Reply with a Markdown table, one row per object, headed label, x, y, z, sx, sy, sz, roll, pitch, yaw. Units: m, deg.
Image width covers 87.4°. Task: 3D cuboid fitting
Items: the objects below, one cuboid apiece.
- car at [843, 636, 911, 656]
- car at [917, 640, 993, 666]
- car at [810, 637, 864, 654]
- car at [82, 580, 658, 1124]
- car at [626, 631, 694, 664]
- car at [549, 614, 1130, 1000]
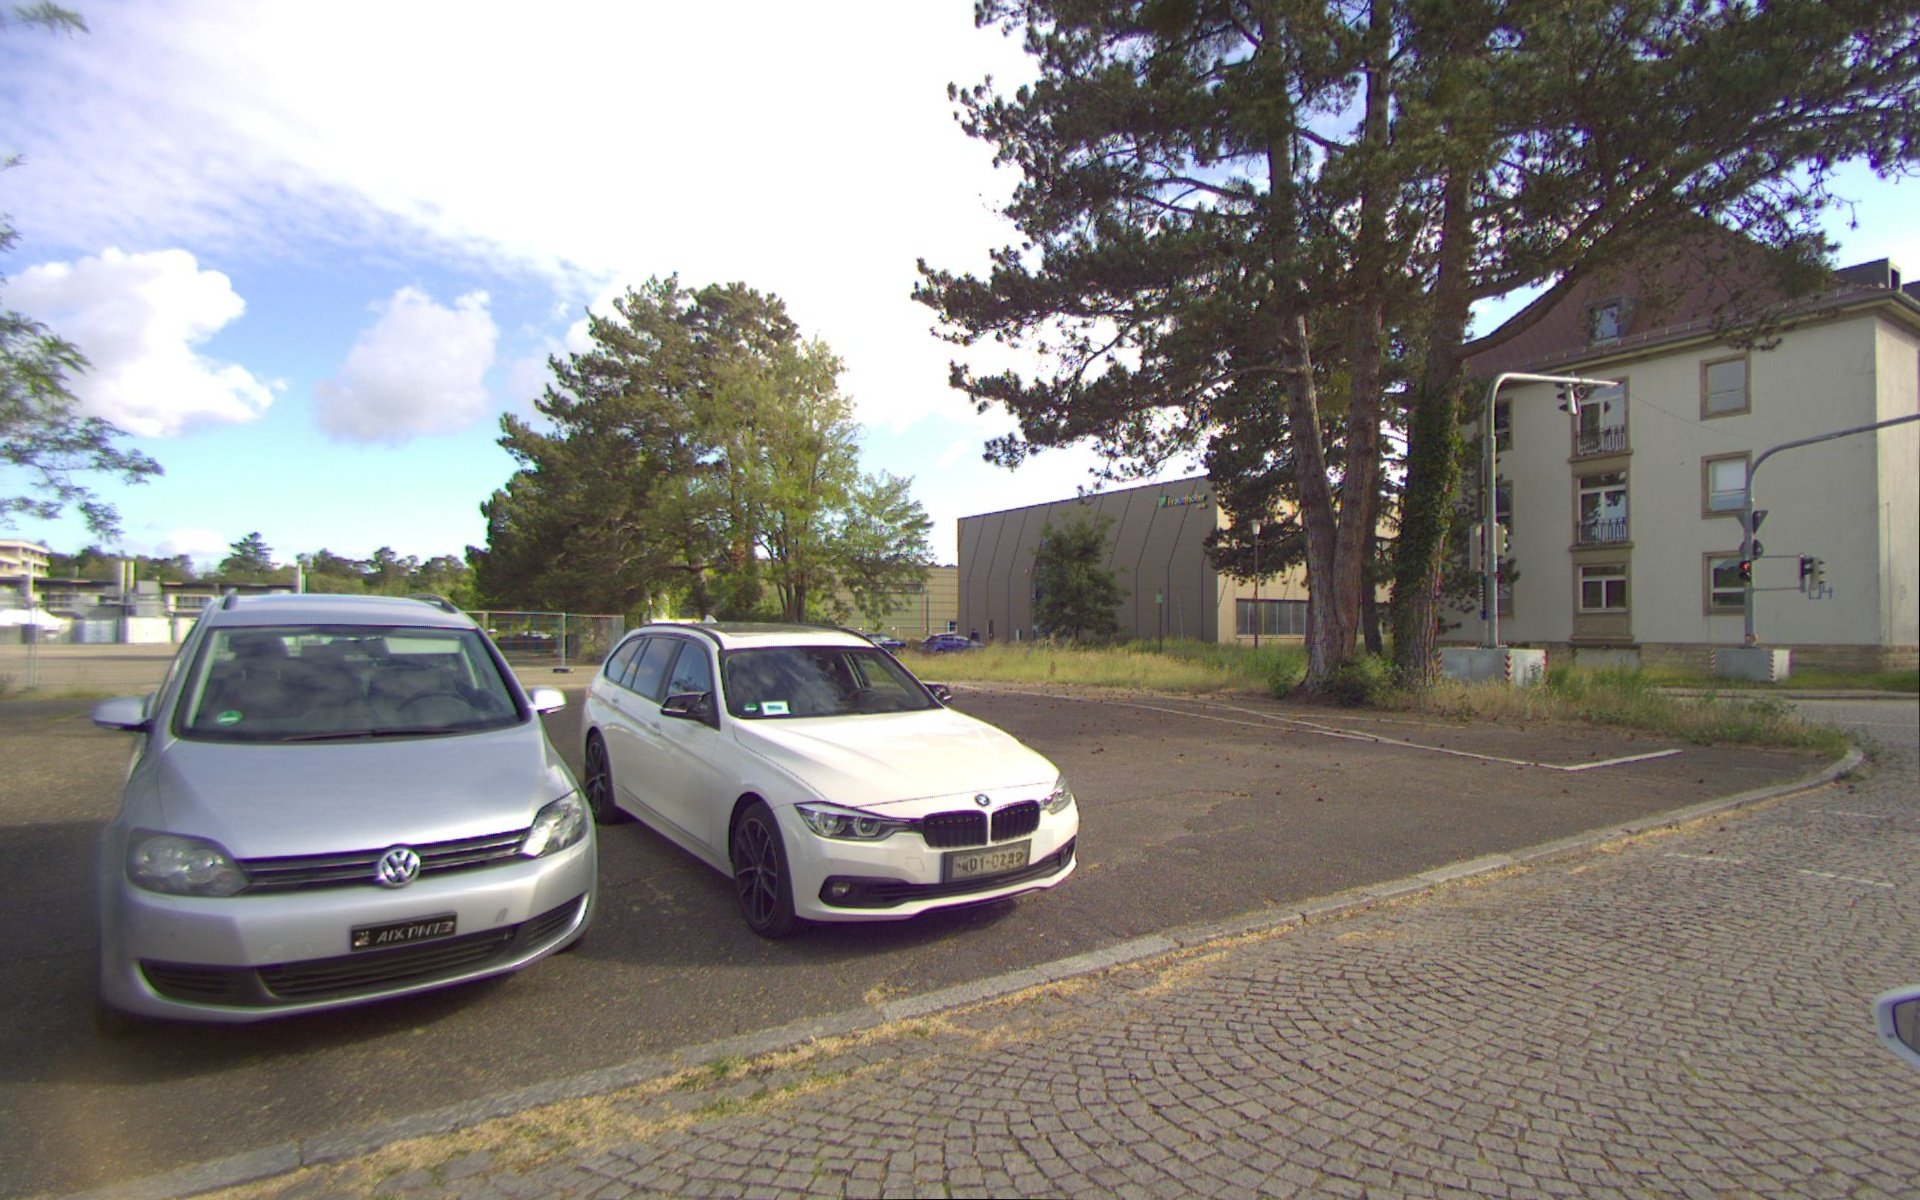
| label | x | y | z | sx | sy | sz | roll | pitch | yaw |
| --- | --- | --- | --- | --- | --- | --- | --- | --- | --- |
| car | -5.404 | 2.967 | 65.450 | 4.148 | 1.289 | 1.598 | 1 | -2 | -30 |
| car | -0.300 | 3.027 | 57.845 | 4.083 | 1.433 | 1.750 | 1 | -2 | -30 |
| car | -8.786 | 3.259 | 71.984 | 3.623 | 1.217 | 1.319 | 1 | -2 | -30 |
| car | -3.011 | 0.740 | 5.066 | 1.718 | 1.628 | 3.805 | 1 | 0 | -35 |
| car | -12.877 | 2.002 | 43.068 | 1.577 | 1.354 | 3.703 | 1 | -2 | -38 |
| car | -1.151 | 0.905 | 6.531 | 1.813 | 1.461 | 4.446 | 1 | 1 | -36 |
